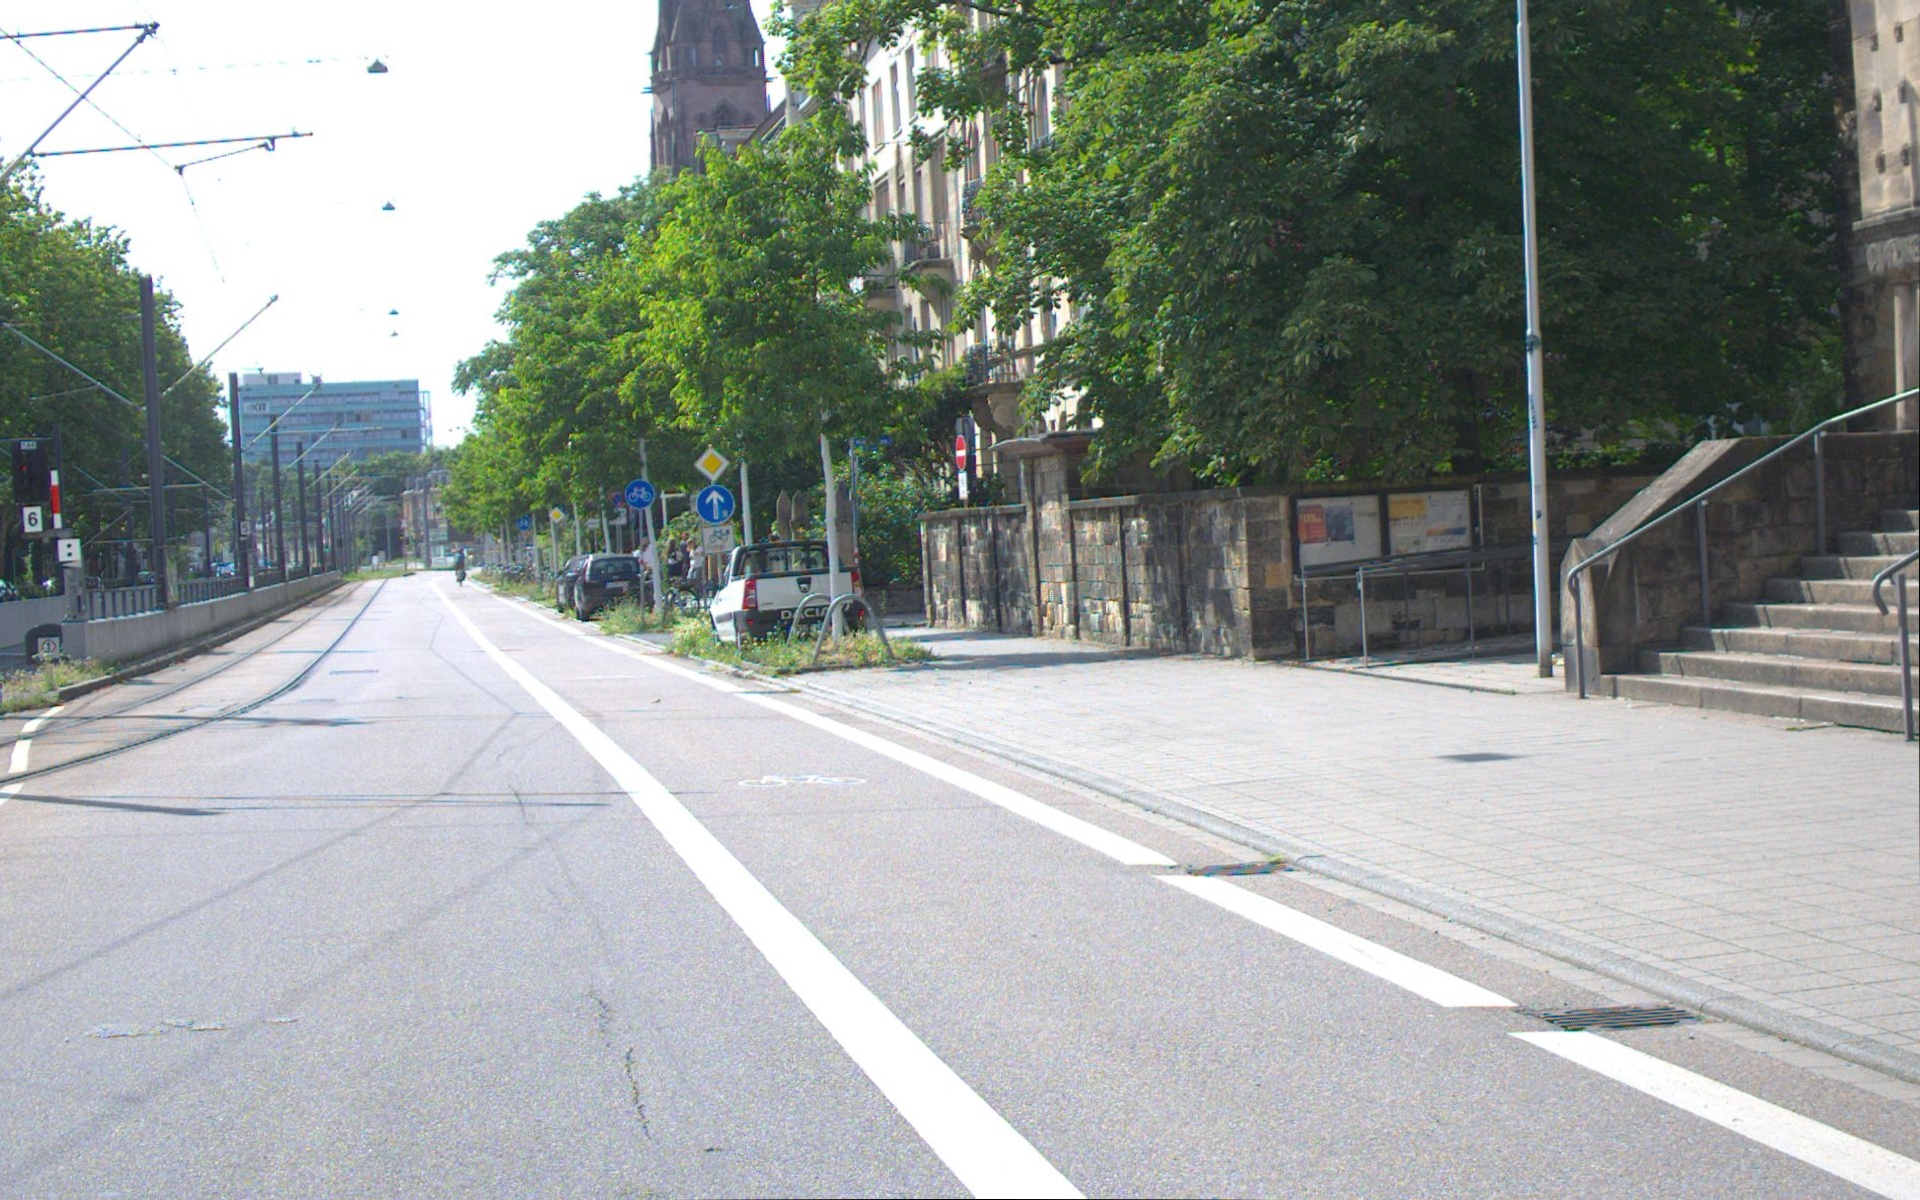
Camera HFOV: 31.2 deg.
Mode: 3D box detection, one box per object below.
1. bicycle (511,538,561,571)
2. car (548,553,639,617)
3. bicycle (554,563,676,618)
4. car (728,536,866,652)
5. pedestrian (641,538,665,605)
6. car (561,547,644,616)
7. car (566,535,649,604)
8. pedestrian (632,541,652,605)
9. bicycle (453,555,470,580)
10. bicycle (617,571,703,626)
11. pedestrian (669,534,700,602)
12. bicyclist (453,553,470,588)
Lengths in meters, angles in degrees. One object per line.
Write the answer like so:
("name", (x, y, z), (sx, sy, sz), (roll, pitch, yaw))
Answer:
("bicycle", (-16.881, -1.822, 136.896), (1.816, 1.141, 0.652), (-6, 2, -20))
("car", (-9.771, -0.411, 91.325), (1.798, 1.521, 4.490), (-5, 2, -12))
("bicycle", (-8.814, -0.241, 87.912), (2.946, 1.242, 0.793), (-3, 1, -21))
("car", (-2.128, -0.110, 45.678), (1.668, 1.411, 3.844), (-1, 1, -1))
("pedestrian", (-8.403, -0.770, 94.038), (0.459, 1.798, 0.319), (-5, 2, -10))
("car", (-8.078, -0.441, 77.857), (1.668, 1.411, 3.586), (-3, 1, -4))
("car", (-8.368, -0.753, 81.397), (1.685, 1.497, 4.709), (-3, 1, -8))
("pedestrian", (-8.635, -0.733, 93.369), (0.318, 1.701, 0.460), (-5, 2, 5))
("bicycle", (-25.579, -1.689, 176.228), (0.799, 1.232, 2.778), (-3, 1, -8))
("bicycle", (-6.333, -0.037, 72.521), (1.705, 1.065, 0.471), (-3, 1, -14))
("pedestrian", (-7.561, -0.875, 94.369), (0.669, 1.798, 0.319), (-5, 2, -10))
("bicyclist", (-25.578, -1.522, 176.283), (0.770, 1.724, 1.026), (-3, 1, -8))
